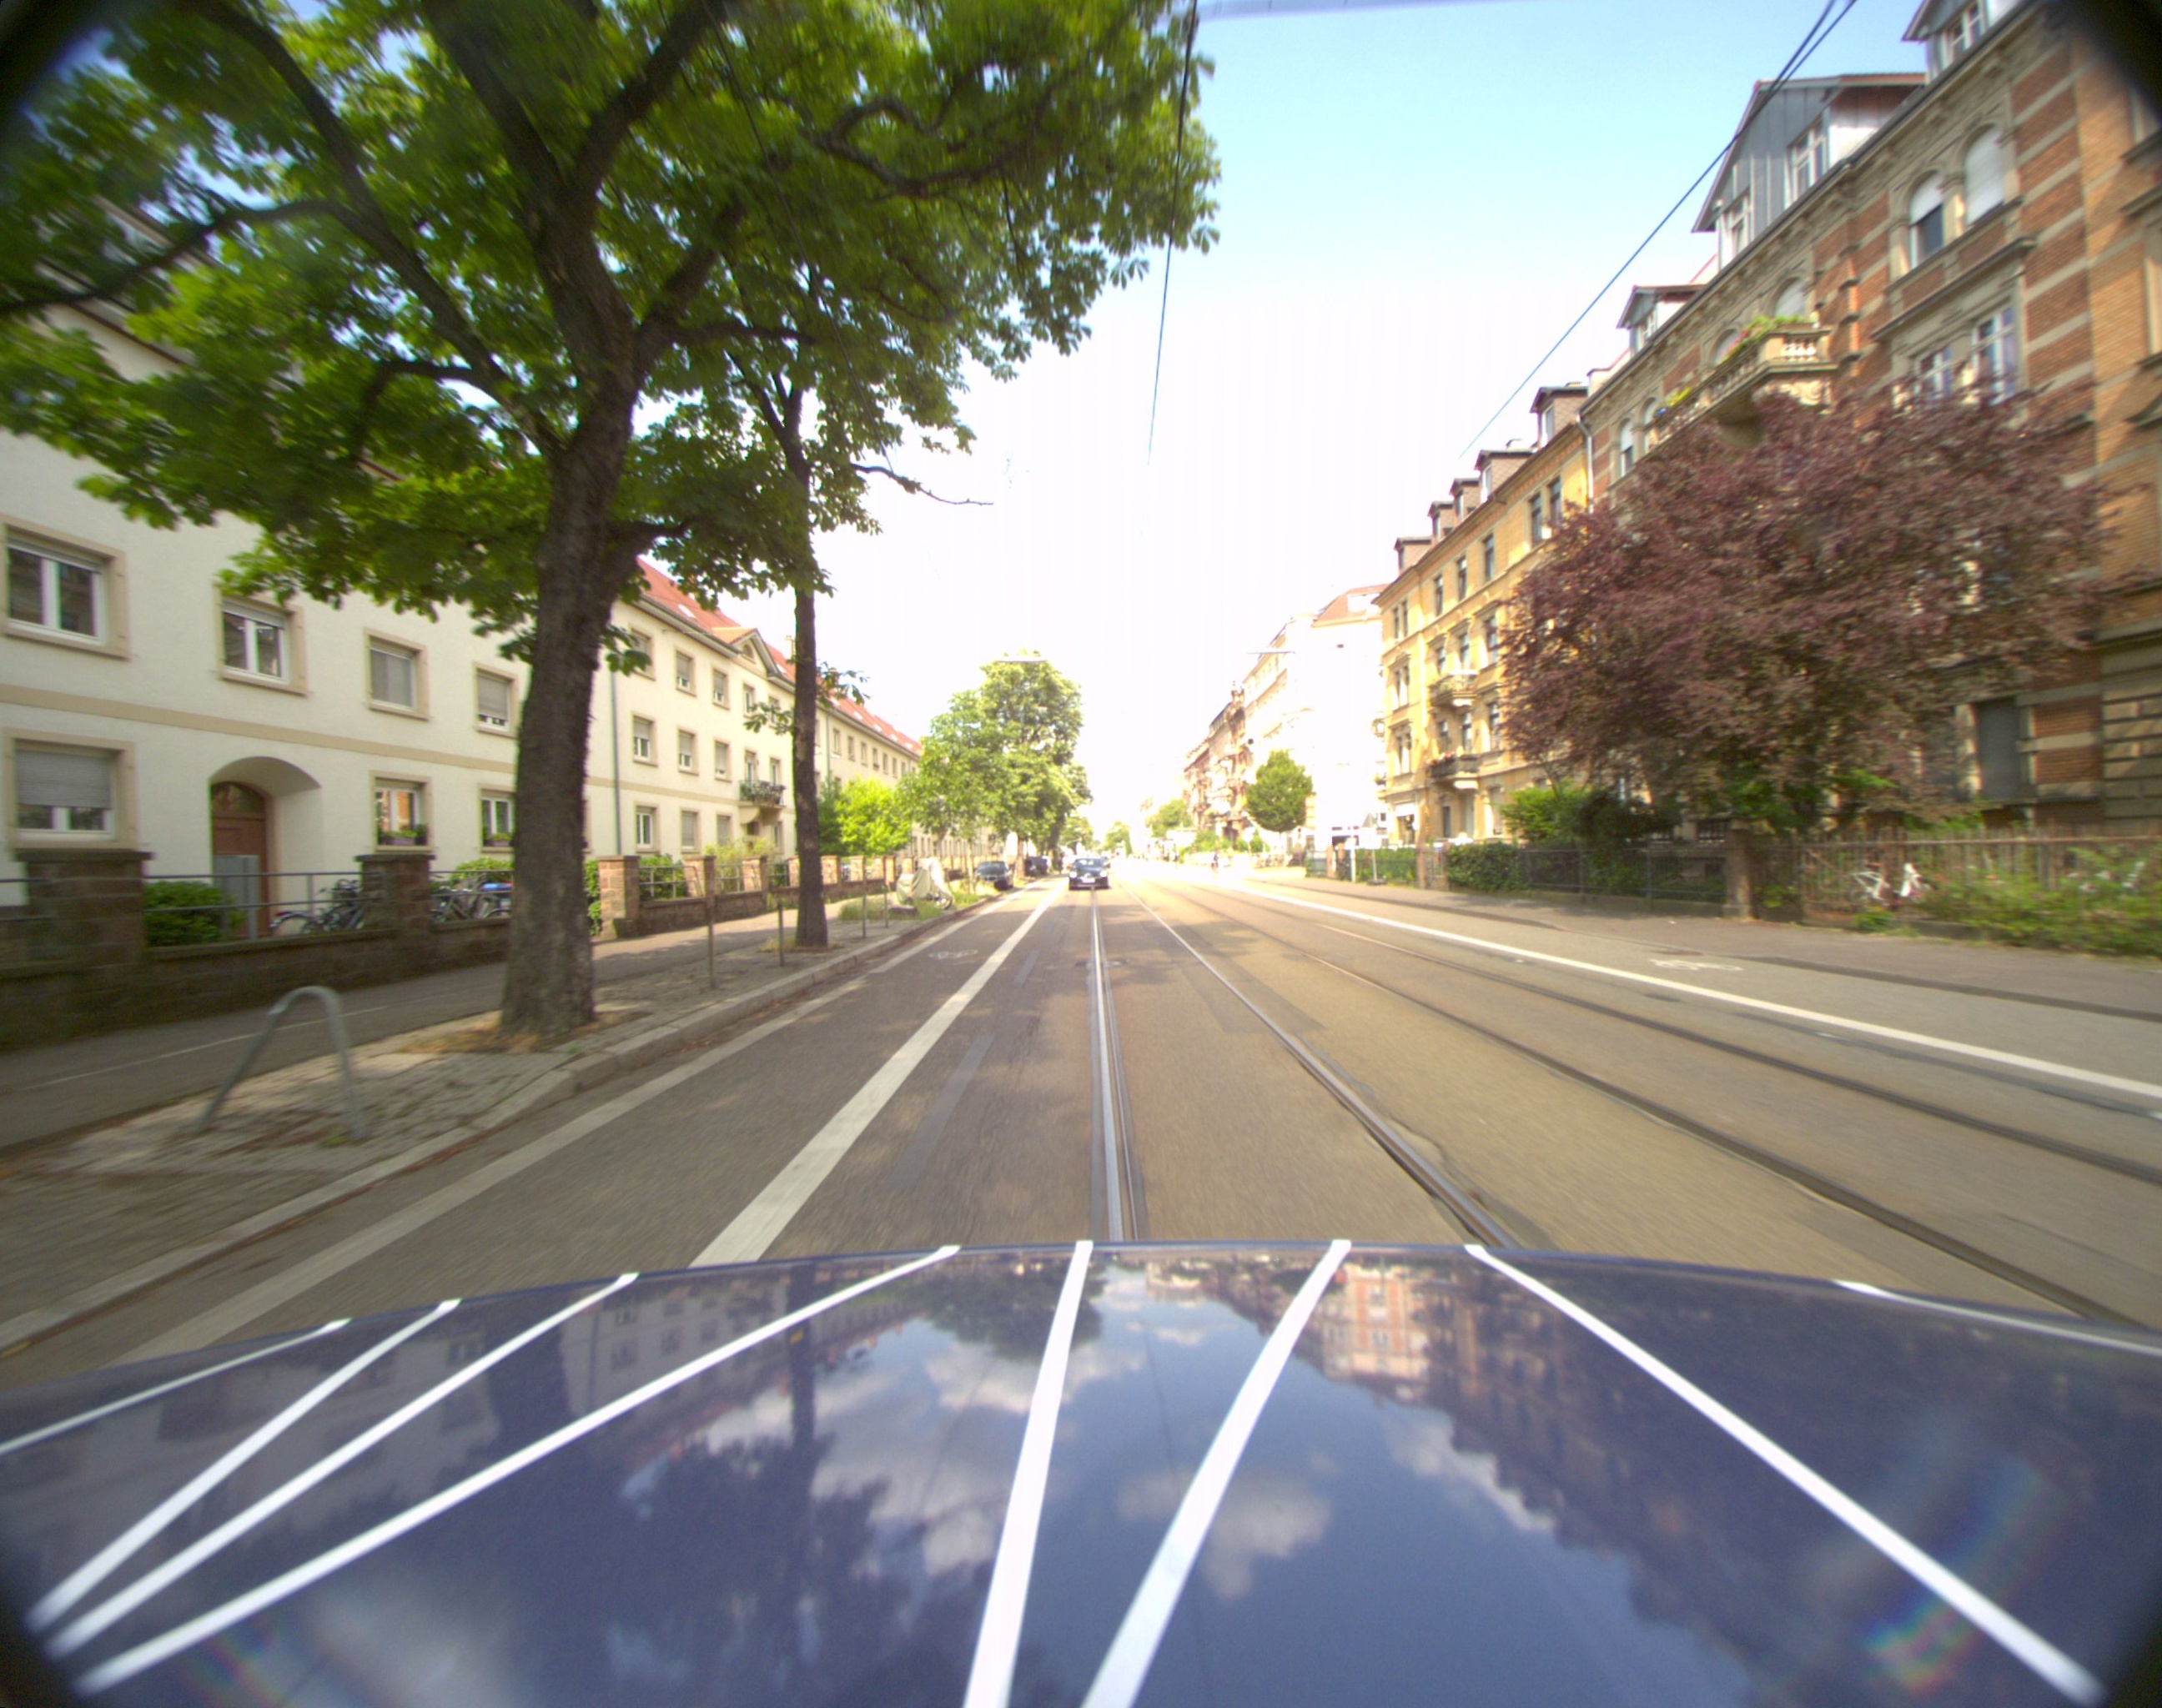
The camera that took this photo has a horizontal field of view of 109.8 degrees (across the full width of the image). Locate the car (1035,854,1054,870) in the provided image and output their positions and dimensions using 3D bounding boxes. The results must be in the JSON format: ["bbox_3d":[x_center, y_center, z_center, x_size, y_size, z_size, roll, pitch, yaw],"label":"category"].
[{"bbox_3d":[-3.724,0.767,78.402,1.693,1.537,3.775,-1,1,0],"label":"car"}]

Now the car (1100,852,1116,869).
[{"bbox_3d":[2.986,0.696,84.662,1.715,1.718,3.736,-2,1,1],"label":"car"}]

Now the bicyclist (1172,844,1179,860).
[{"bbox_3d":[8.768,-0.159,70.681,0.477,1.490,0.743,0,1,-2],"label":"bicyclist"}]

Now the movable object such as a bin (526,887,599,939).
[{"bbox_3d":[-9.846,1.103,14.451,0.830,0.912,0.752,-1,1,0],"label":"movable object such as a bin"}]

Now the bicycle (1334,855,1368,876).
[{"bbox_3d":[12.460,0.547,35.081,1.431,0.935,0.401,1,-2,3],"label":"bicycle"}]

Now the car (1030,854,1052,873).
[{"bbox_3d":[-3.491,0.835,67.004,1.693,1.537,3.617,-1,1,0],"label":"car"}]

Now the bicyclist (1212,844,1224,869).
[{"bbox_3d":[8.064,0.132,44.710,0.614,1.490,0.743,0,1,13],"label":"bicyclist"}]

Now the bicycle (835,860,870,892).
[{"bbox_3d":[-9.294,0.866,30.970,0.691,1.230,2.233,-1,1,1],"label":"bicycle"}]

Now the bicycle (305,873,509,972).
[{"bbox_3d":[-9.966,0.944,11.440,0.654,1.184,2.598,-2,1,1],"label":"bicycle"}]

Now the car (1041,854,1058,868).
[{"bbox_3d":[-3.636,0.850,88.380,1.693,1.537,3.460,-1,1,0],"label":"car"}]

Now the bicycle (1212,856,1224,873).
[{"bbox_3d":[8.063,0.607,44.730,0.607,0.936,1.756,1,1,13],"label":"bicycle"}]

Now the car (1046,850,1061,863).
[{"bbox_3d":[-3.373,0.321,95.073,1.693,1.537,3.460,-1,1,0],"label":"car"}]

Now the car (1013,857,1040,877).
[{"bbox_3d":[-4.011,0.927,56.828,1.693,1.380,3.999,-1,0,0],"label":"car"}]

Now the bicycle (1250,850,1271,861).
[{"bbox_3d":[15.758,0.144,66.614,1.753,0.936,0.483,0,1,0],"label":"bicycle"}]

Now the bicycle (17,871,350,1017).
[{"bbox_3d":[-10.079,0.916,8.777,0.654,1.311,2.598,-2,1,1],"label":"bicycle"}]

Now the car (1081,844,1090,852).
[{"bbox_3d":[0.946,-1.277,165.386,1.693,1.831,5.028,-1,0,-1],"label":"car"}]

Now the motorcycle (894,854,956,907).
[{"bbox_3d":[-4.593,0.753,22.289,0.812,1.485,2.065,-2,1,-43],"label":"motorcycle"}]

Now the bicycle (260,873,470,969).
[{"bbox_3d":[-10.809,0.945,11.655,0.654,1.184,2.598,-2,1,1],"label":"bicycle"}]

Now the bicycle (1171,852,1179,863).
[{"bbox_3d":[8.763,0.325,70.707,0.483,0.936,1.754,0,1,-2],"label":"bicycle"}]

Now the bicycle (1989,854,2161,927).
[{"bbox_3d":[14.021,0.497,10.539,2.133,0.931,0.586,-1,1,0],"label":"bicycle"}]

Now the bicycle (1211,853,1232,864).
[{"bbox_3d":[12.255,0.360,66.214,1.750,0.936,0.484,1,1,25],"label":"bicycle"}]

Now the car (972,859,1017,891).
[{"bbox_3d":[-4.184,1.000,37.345,1.693,1.380,3.999,-1,0,0],"label":"car"}]

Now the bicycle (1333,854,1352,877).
[{"bbox_3d":[11.454,0.511,33.316,0.400,0.935,1.473,1,-2,3],"label":"bicycle"}]

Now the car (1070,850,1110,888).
[{"bbox_3d":[0.413,0.635,34.871,1.693,1.568,4.156,-1,0,0],"label":"car"}]

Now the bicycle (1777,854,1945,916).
[{"bbox_3d":[12.684,0.501,12.391,2.133,0.931,0.586,-1,1,0],"label":"bicycle"}]

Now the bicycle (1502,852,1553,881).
[{"bbox_3d":[14.802,0.427,25.221,1.431,0.935,0.401,1,-2,3],"label":"bicycle"}]

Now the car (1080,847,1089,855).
[{"bbox_3d":[0.645,-0.554,147.016,1.693,1.380,3.999,-1,0,0],"label":"car"}]

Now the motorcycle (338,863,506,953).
[{"bbox_3d":[-12.116,0.927,14.145,0.752,1.406,2.598,-2,1,1],"label":"motorcycle"}]
